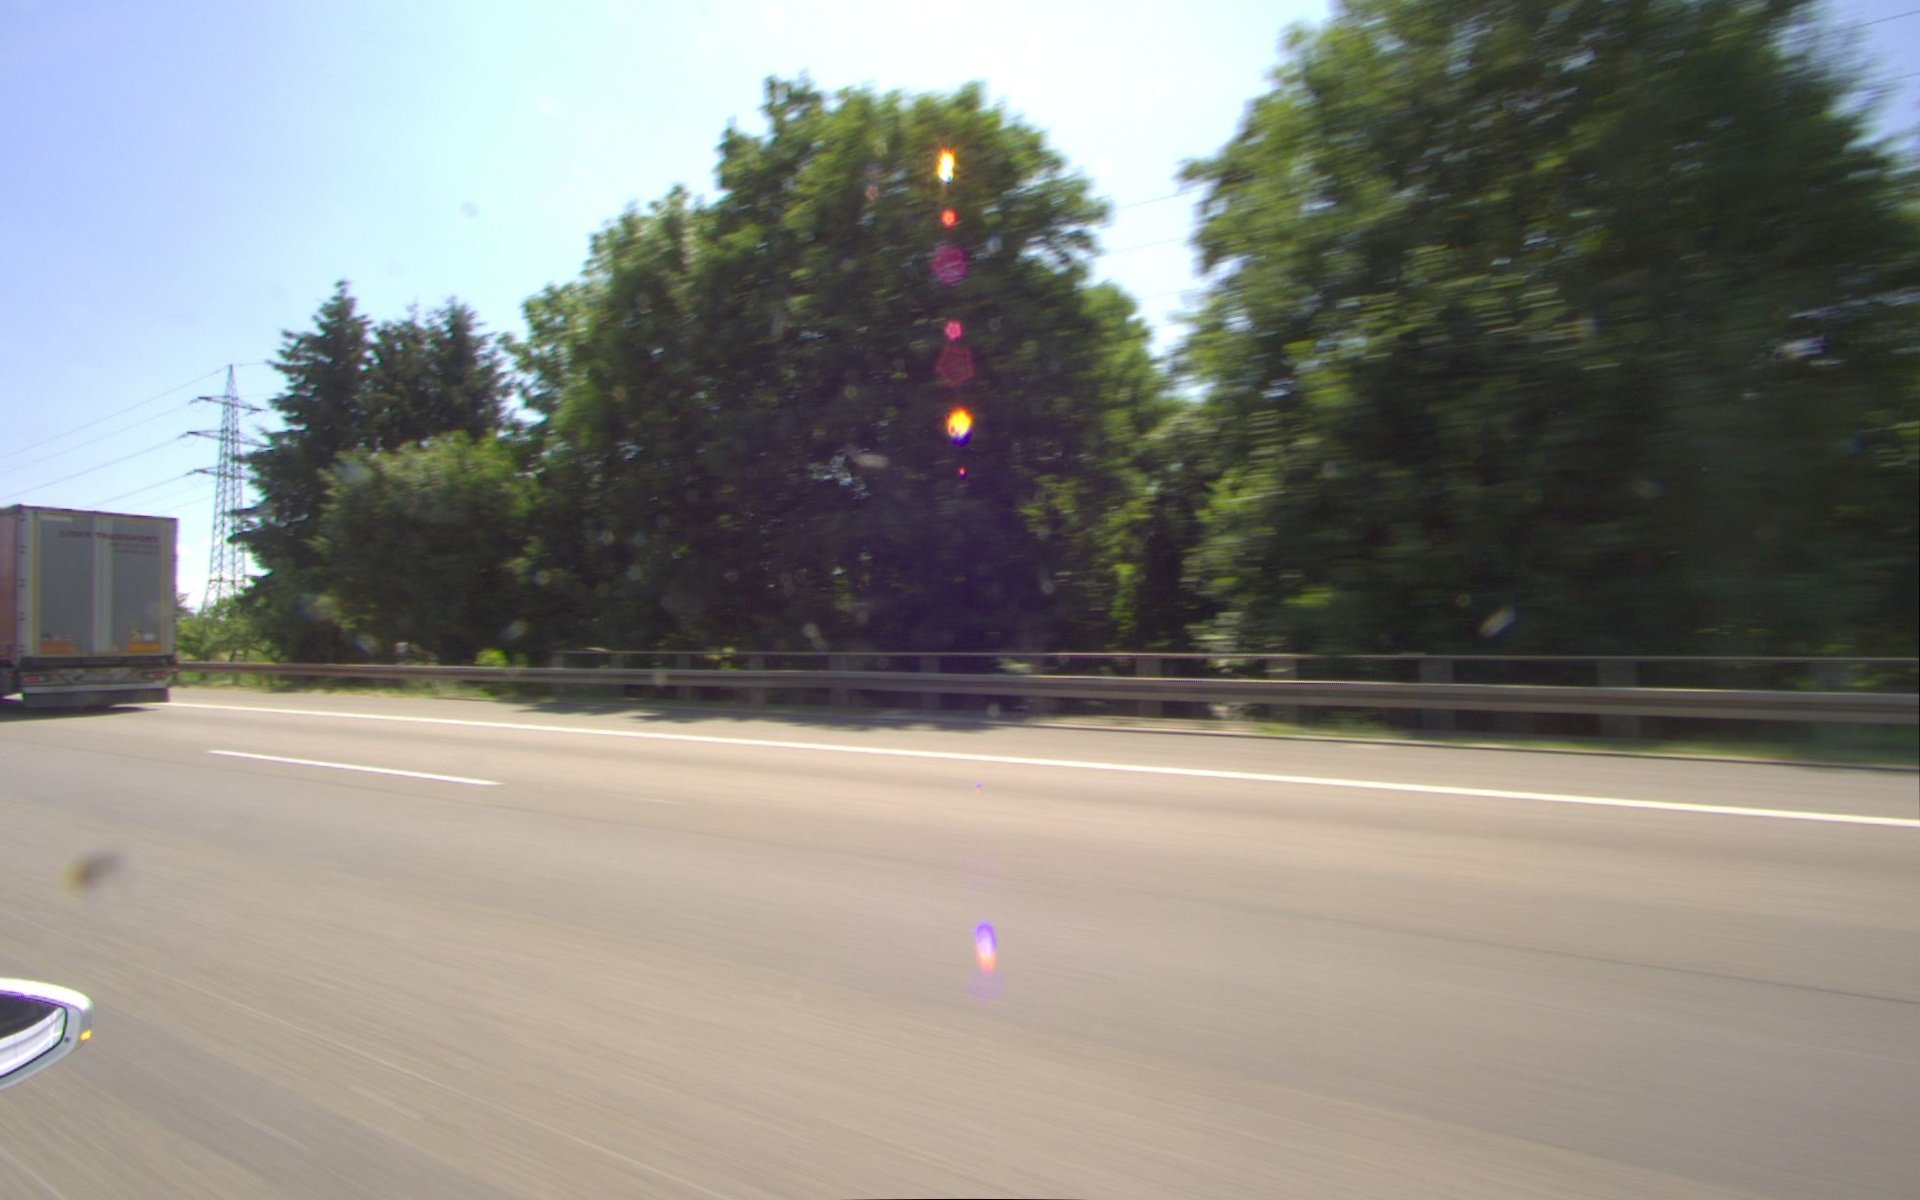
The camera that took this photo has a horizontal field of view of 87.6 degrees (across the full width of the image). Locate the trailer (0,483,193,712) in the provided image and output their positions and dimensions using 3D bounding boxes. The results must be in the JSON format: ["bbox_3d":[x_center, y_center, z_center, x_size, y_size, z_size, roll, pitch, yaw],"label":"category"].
[{"bbox_3d":[-22.351,0.119,23.289,12.842,4.318,2.598,-1,-2,31],"label":"trailer"}]
